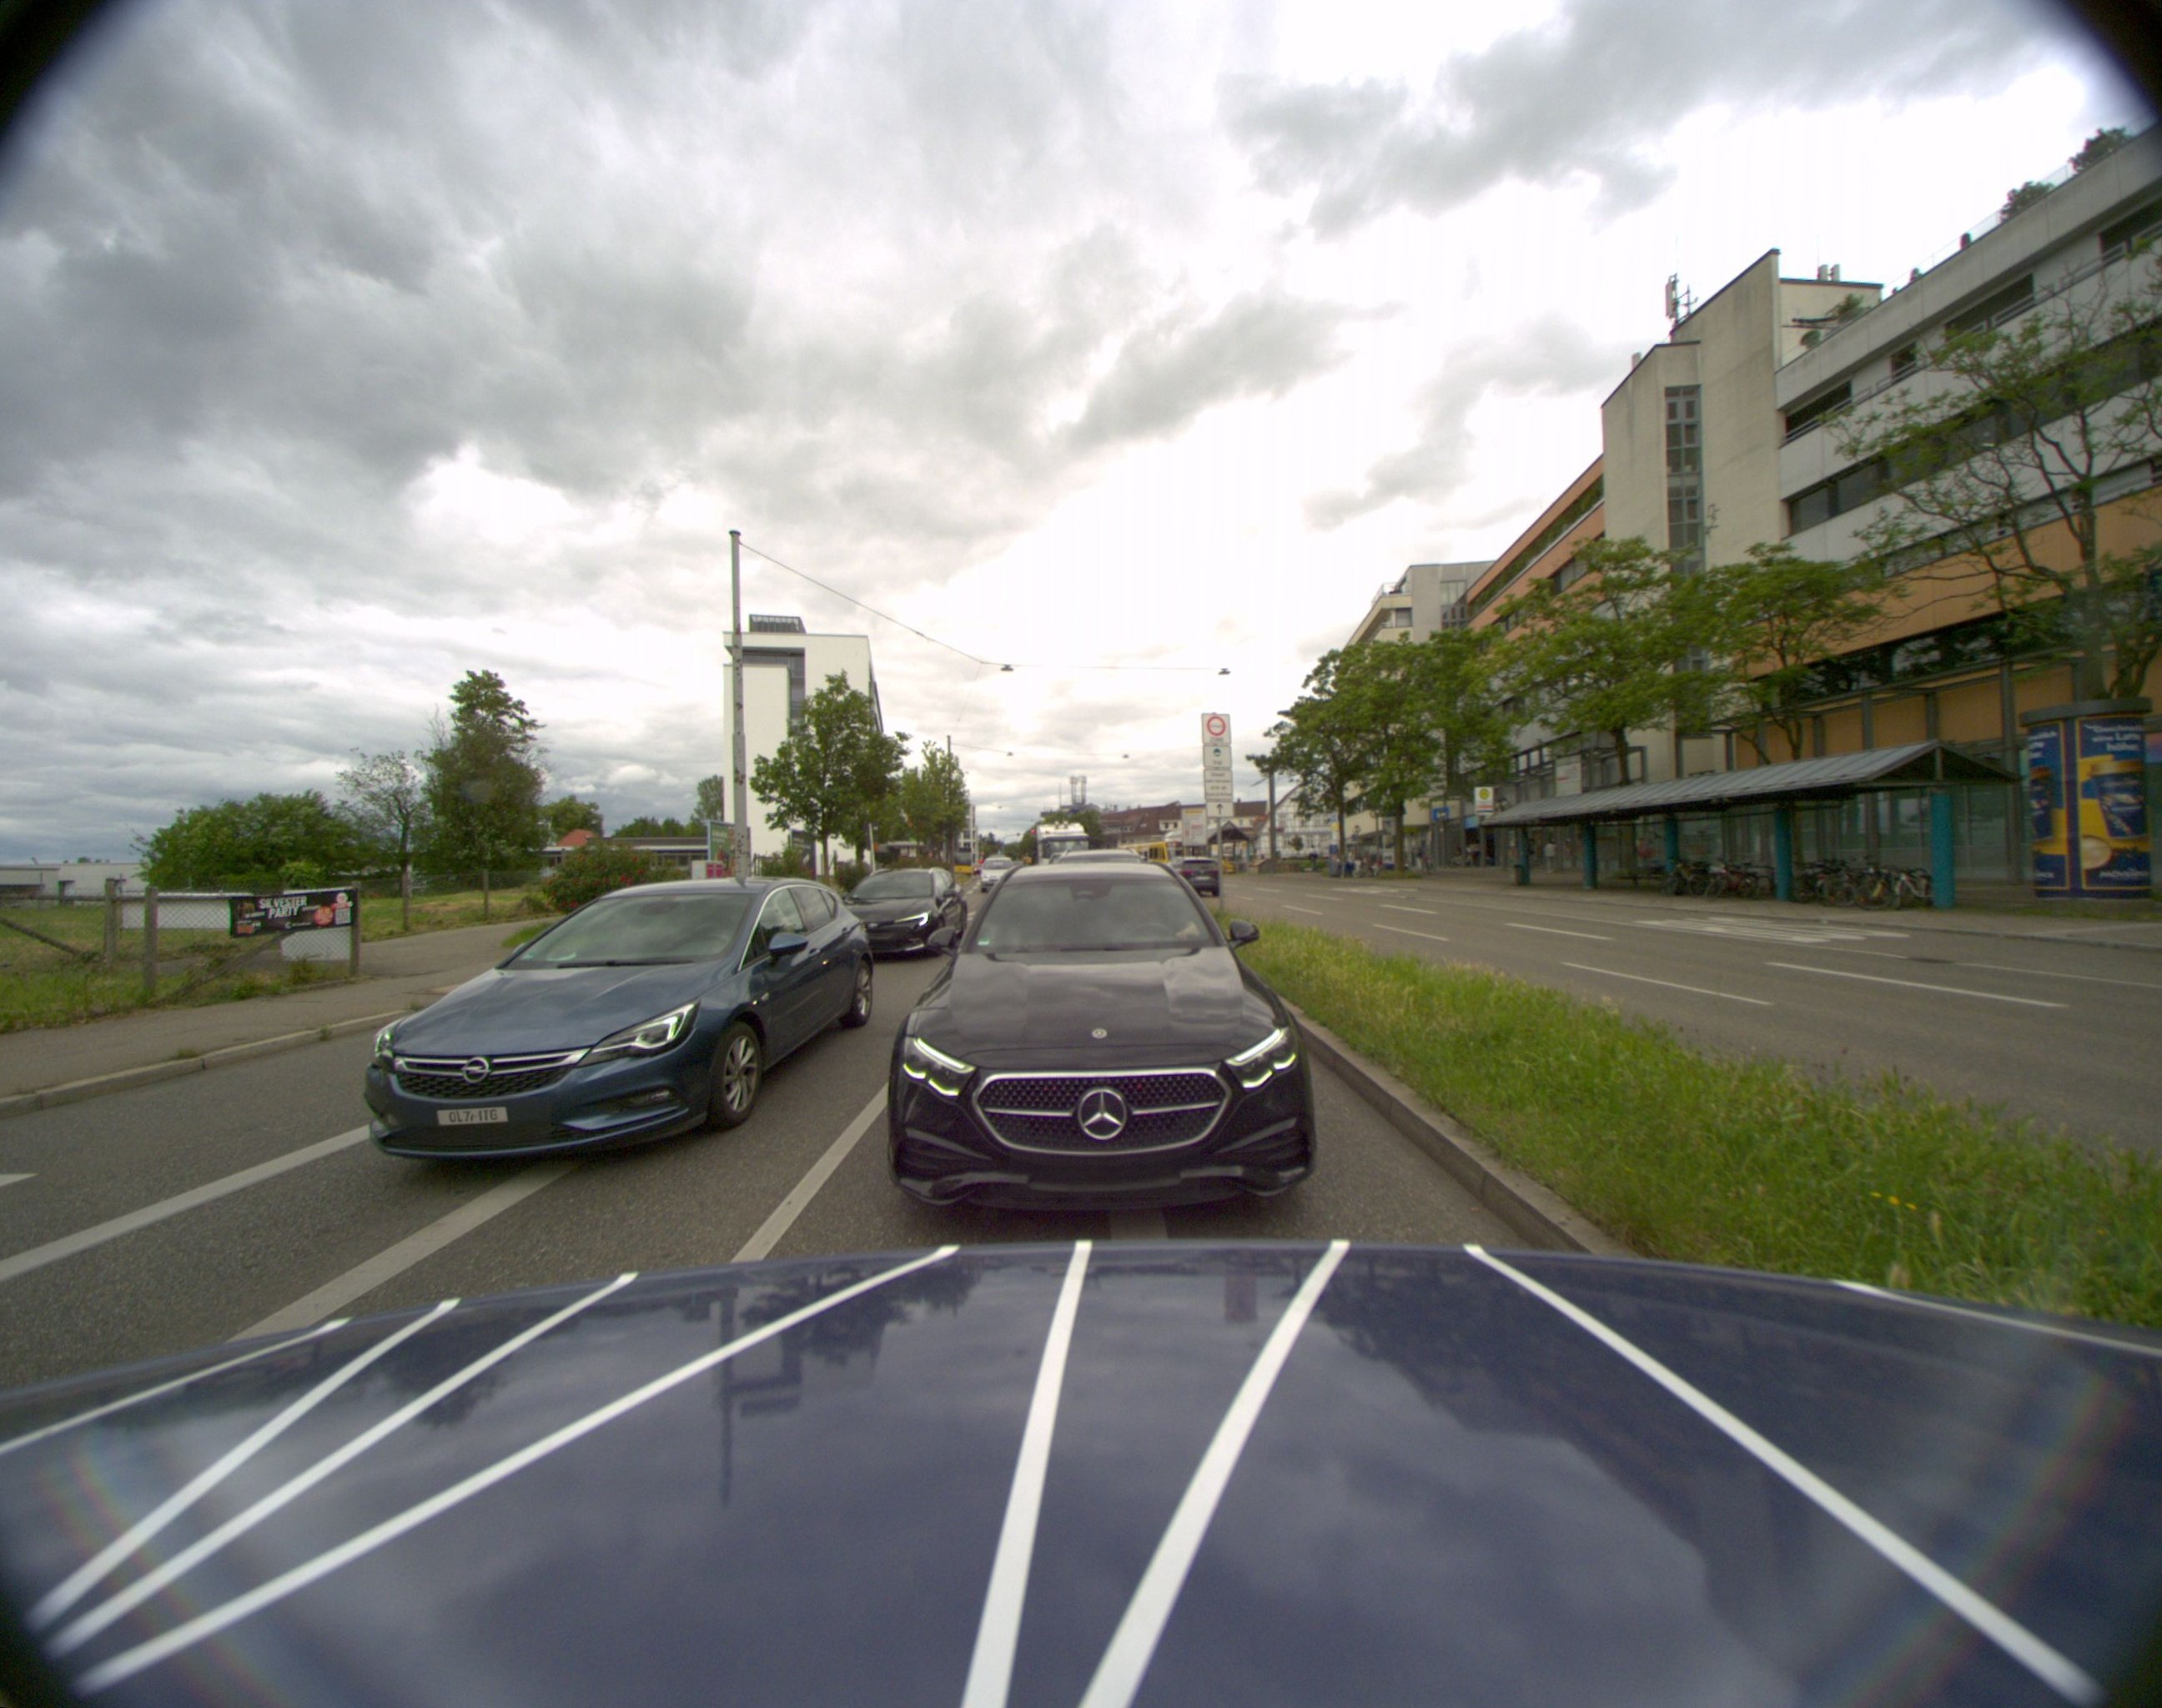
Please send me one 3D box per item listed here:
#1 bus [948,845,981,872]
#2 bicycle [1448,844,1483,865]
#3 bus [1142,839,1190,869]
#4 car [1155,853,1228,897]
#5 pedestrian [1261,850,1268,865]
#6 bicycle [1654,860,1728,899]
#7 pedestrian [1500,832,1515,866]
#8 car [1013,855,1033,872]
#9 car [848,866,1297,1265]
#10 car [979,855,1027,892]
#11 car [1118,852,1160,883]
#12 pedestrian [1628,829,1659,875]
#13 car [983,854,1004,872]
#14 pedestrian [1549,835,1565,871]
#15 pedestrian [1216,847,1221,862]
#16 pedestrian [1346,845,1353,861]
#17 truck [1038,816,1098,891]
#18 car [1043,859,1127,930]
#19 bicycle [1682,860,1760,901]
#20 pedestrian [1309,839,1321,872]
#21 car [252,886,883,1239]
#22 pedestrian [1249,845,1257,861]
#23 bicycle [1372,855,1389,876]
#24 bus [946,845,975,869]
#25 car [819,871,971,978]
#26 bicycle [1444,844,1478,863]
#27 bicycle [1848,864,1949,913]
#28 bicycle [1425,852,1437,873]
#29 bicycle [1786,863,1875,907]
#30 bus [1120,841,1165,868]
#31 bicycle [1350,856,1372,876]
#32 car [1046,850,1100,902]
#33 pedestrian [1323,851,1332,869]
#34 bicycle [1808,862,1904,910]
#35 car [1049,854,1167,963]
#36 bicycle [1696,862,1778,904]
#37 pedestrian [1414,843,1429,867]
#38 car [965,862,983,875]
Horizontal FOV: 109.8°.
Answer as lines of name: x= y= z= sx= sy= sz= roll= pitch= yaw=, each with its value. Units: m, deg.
bus: x=-12.797 y=0.394 z=82.733 sx=2.969 sy=2.616 sz=12.137 roll=-2 pitch=1 yaw=-11
bicycle: x=27.010 y=0.032 z=53.401 sx=2.139 sy=1.367 sz=0.620 roll=-2 pitch=1 yaw=18
bus: x=8.719 y=0.007 z=79.018 sx=2.556 sy=2.966 sz=8.498 roll=-1 pitch=0 yaw=-11
car: x=4.085 y=0.744 z=28.668 sx=1.714 sy=1.472 sz=4.285 roll=0 pitch=1 yaw=-6
pedestrian: x=19.337 y=0.366 z=80.112 sx=0.577 sy=1.533 sz=0.583 roll=-1 pitch=1 yaw=-8
bicycle: x=18.217 y=0.750 z=22.705 sx=1.735 sy=1.035 sz=0.549 roll=-3 pitch=1 yaw=-2
pedestrian: x=25.265 y=-0.309 z=45.001 sx=0.566 sy=2.002 sz=0.611 roll=-1 pitch=1 yaw=6
car: x=-6.616 y=1.044 z=86.264 sx=2.000 sy=1.674 sz=3.997 roll=-4 pitch=1 yaw=-8
car: x=-0.042 y=0.886 z=5.194 sx=1.793 sy=1.507 sz=4.249 roll=-1 pitch=0 yaw=0
car: x=-3.734 y=0.915 z=37.160 sx=1.851 sy=1.606 sz=3.783 roll=-3 pitch=0 yaw=0
car: x=3.137 y=0.700 z=41.740 sx=1.840 sy=1.512 sz=4.070 roll=0 pitch=2 yaw=-2
pedestrian: x=24.895 y=-0.082 z=33.637 sx=0.710 sy=2.002 sz=0.794 roll=-2 pitch=1 yaw=-6
car: x=-9.685 y=0.978 z=83.936 sx=2.000 sy=1.811 sz=3.996 roll=-1 pitch=0 yaw=-10
pedestrian: x=24.113 y=-0.046 z=38.490 sx=0.648 sy=1.799 sz=0.761 roll=0 pitch=1 yaw=34
pedestrian: x=18.993 y=0.100 z=104.939 sx=0.742 sy=2.002 sz=0.939 roll=-1 pitch=1 yaw=11
pedestrian: x=25.500 y=-0.062 z=72.230 sx=0.555 sy=1.485 sz=0.454 roll=-1 pitch=1 yaw=8
truck: x=-0.752 y=-0.041 z=36.729 sx=2.490 sy=3.258 sz=7.428 roll=-1 pitch=0 yaw=-4
car: x=0.057 y=0.913 z=18.913 sx=1.865 sy=1.520 sz=3.999 roll=-1 pitch=0 yaw=-1
bicycle: x=18.296 y=0.745 z=21.745 sx=1.735 sy=1.035 sz=0.549 roll=-4 pitch=1 yaw=-2
pedestrian: x=16.292 y=0.100 z=52.875 sx=0.590 sy=2.294 sz=0.608 roll=-1 pitch=1 yaw=-2
car: x=-2.903 y=1.052 z=5.532 sx=1.826 sy=1.402 sz=4.000 roll=-2 pitch=0 yaw=0
pedestrian: x=22.384 y=-0.142 z=99.095 sx=0.879 sy=2.002 sz=1.010 roll=-1 pitch=1 yaw=6
bicycle: x=16.416 y=0.624 z=41.648 sx=0.593 sy=1.071 sz=2.041 roll=0 pitch=1 yaw=29
bus: x=-15.201 y=0.349 z=95.056 sx=2.969 sy=2.616 sz=12.911 roll=-2 pitch=1 yaw=-11
car: x=-3.072 y=1.103 z=13.377 sx=1.665 sy=1.448 sz=3.921 roll=-2 pitch=0 yaw=0
bicycle: x=27.773 y=-0.025 z=55.553 sx=2.138 sy=1.358 sz=0.620 roll=-2 pitch=1 yaw=26
bicycle: x=18.697 y=0.786 z=17.400 sx=1.735 sy=1.035 sz=0.549 roll=-2 pitch=1 yaw=-2
bicycle: x=19.501 y=0.470 z=42.387 sx=0.593 sy=1.119 sz=2.040 roll=0 pitch=1 yaw=24
bicycle: x=19.037 y=0.776 z=19.311 sx=1.735 sy=1.035 sz=0.549 roll=-2 pitch=1 yaw=-2
bus: x=6.957 y=0.066 z=87.956 sx=2.556 sy=2.966 sz=9.790 roll=-1 pitch=0 yaw=-11
bicycle: x=15.494 y=0.657 z=42.020 sx=0.593 sy=1.071 sz=2.041 roll=0 pitch=1 yaw=38
car: x=-0.353 y=0.746 z=28.349 sx=1.865 sy=1.773 sz=3.999 roll=-1 pitch=0 yaw=-2
pedestrian: x=21.671 y=0.530 z=66.797 sx=0.577 sy=1.533 sz=0.583 roll=-1 pitch=1 yaw=-8
bicycle: x=18.638 y=0.754 z=18.286 sx=1.735 sy=1.035 sz=0.549 roll=-3 pitch=1 yaw=-2
car: x=0.404 y=0.822 z=13.487 sx=1.734 sy=1.601 sz=4.000 roll=-2 pitch=0 yaw=0
bicycle: x=17.960 y=0.792 z=20.812 sx=1.735 sy=1.035 sz=0.549 roll=-3 pitch=1 yaw=-2
pedestrian: x=24.365 y=0.050 z=54.396 sx=0.765 sy=1.673 sz=0.752 roll=-1 pitch=1 yaw=1
car: x=-14.390 y=1.925 z=102.009 sx=2.001 sy=1.592 sz=3.995 roll=-1 pitch=0 yaw=-15
